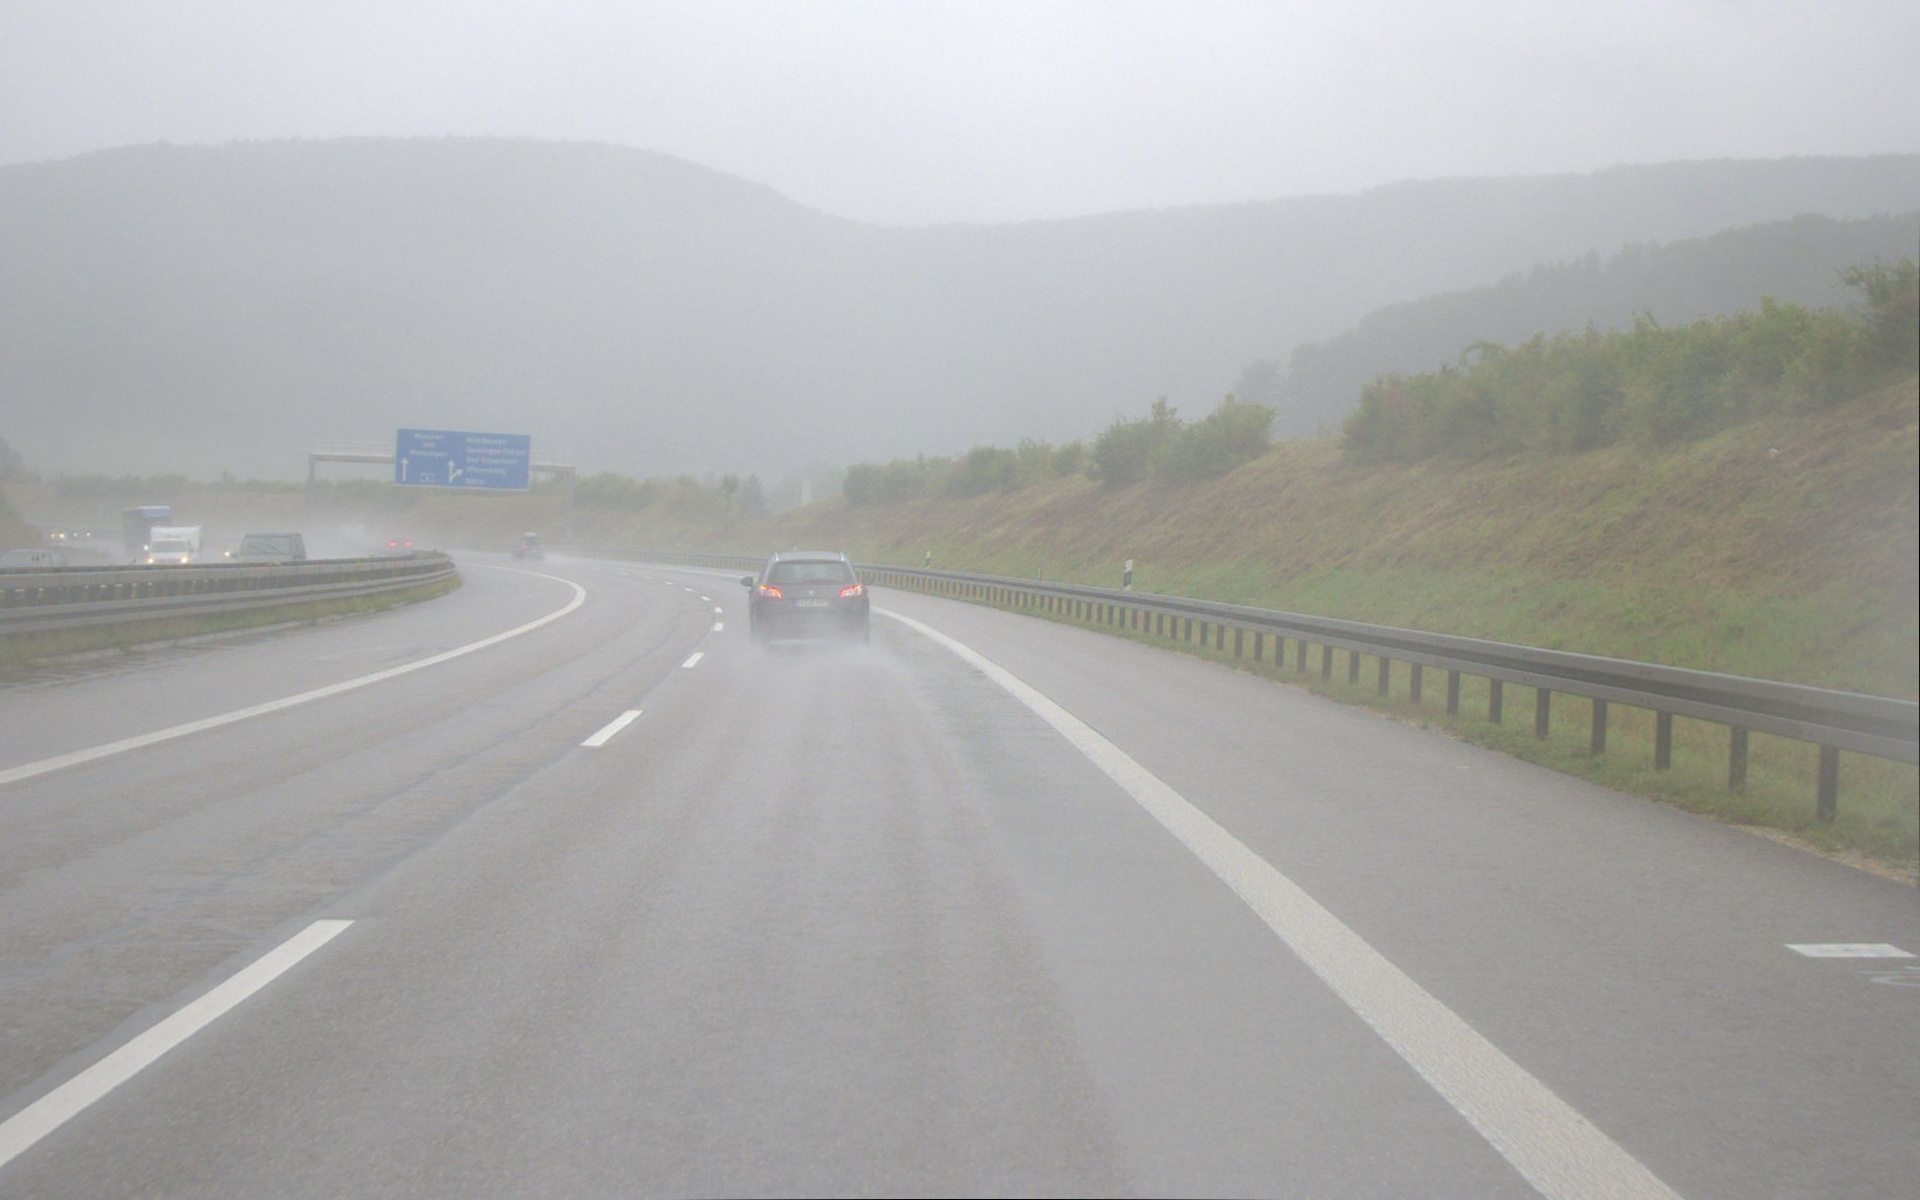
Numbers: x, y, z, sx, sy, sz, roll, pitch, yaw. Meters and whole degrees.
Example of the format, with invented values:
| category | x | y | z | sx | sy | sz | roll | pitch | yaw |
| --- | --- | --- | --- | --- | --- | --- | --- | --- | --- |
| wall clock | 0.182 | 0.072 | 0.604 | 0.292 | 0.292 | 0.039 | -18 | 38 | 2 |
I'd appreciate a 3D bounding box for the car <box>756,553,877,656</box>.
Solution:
| category | x | y | z | sx | sy | sz | roll | pitch | yaw |
| --- | --- | --- | --- | --- | --- | --- | --- | --- | --- |
| car | -2.193 | 0.045 | 51.821 | 1.679 | 1.467 | 3.815 | 0 | 1 | -4 |
